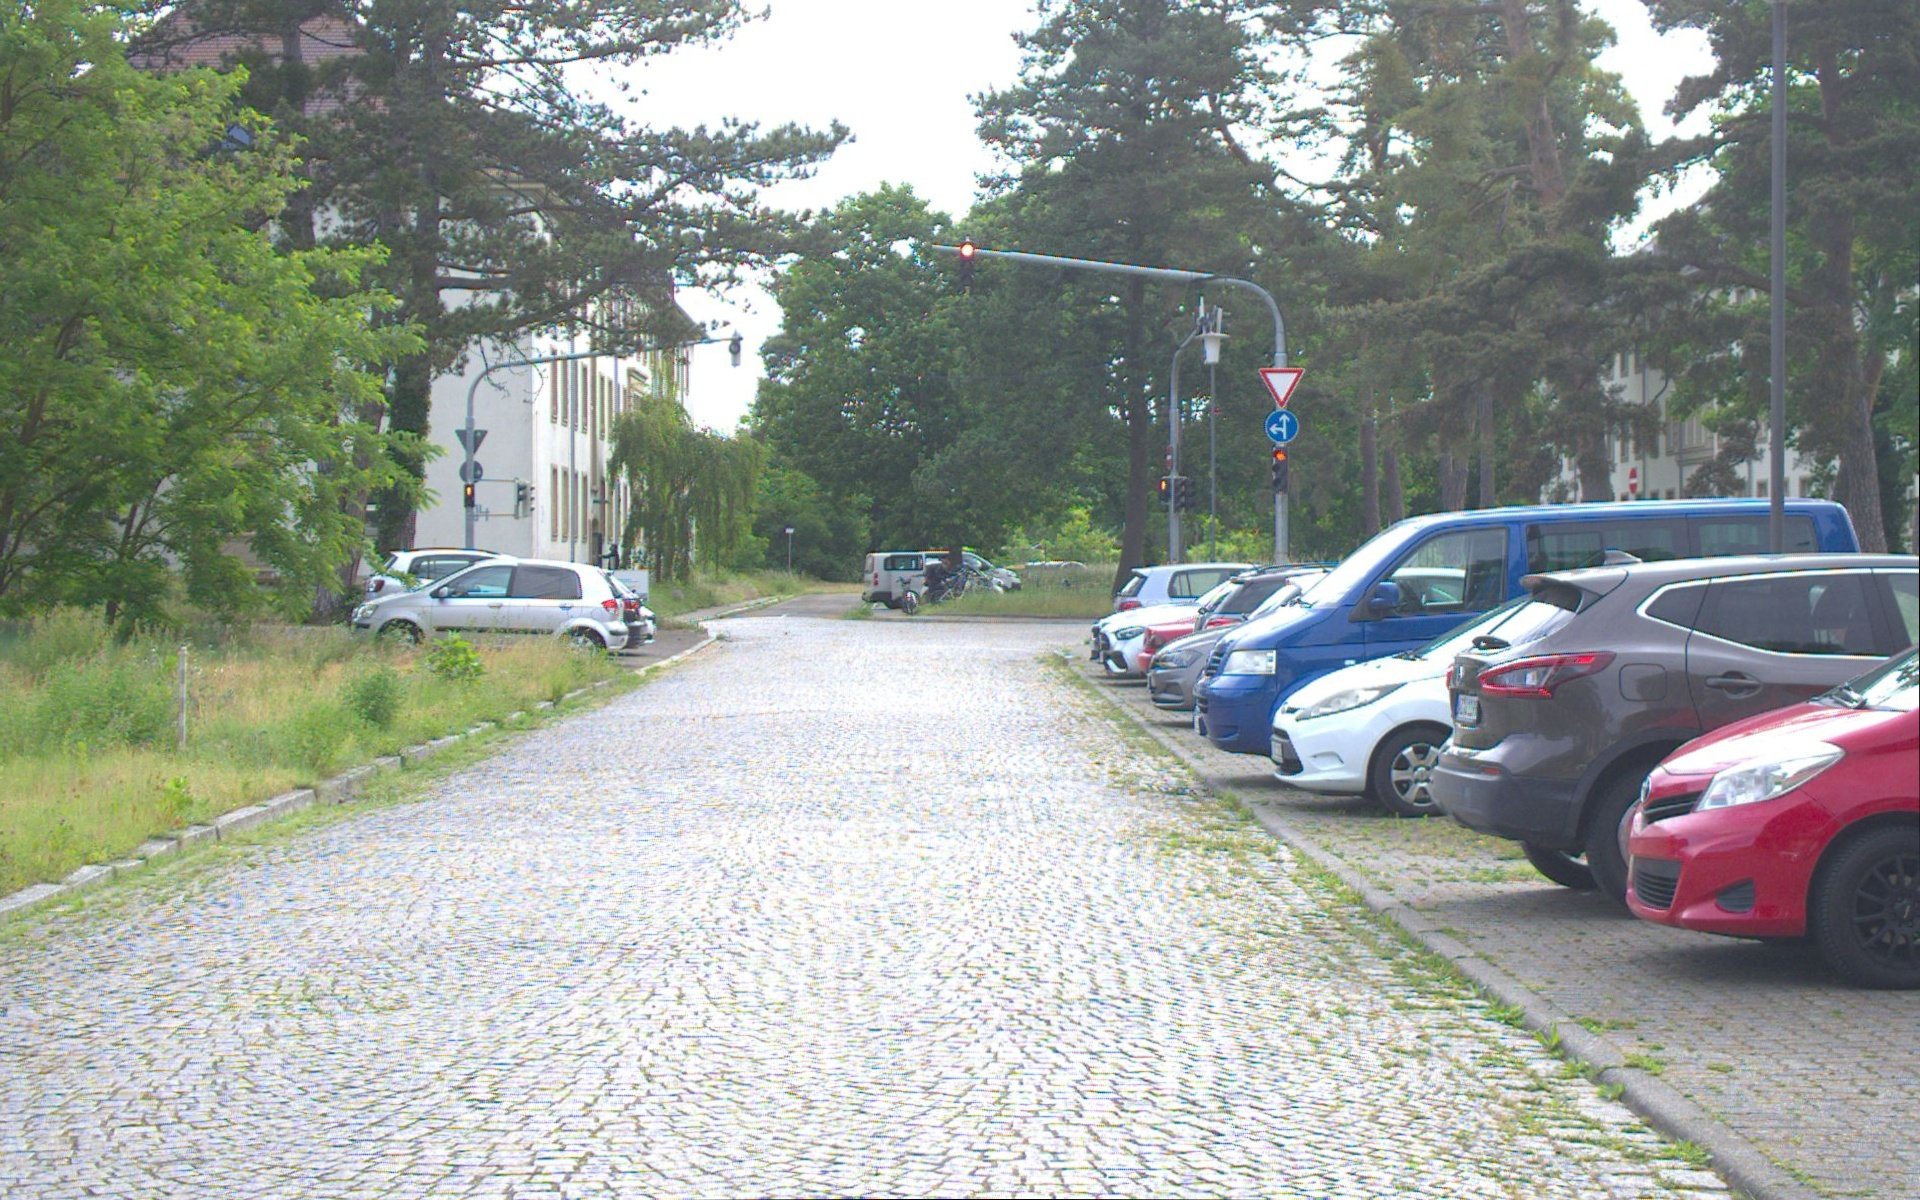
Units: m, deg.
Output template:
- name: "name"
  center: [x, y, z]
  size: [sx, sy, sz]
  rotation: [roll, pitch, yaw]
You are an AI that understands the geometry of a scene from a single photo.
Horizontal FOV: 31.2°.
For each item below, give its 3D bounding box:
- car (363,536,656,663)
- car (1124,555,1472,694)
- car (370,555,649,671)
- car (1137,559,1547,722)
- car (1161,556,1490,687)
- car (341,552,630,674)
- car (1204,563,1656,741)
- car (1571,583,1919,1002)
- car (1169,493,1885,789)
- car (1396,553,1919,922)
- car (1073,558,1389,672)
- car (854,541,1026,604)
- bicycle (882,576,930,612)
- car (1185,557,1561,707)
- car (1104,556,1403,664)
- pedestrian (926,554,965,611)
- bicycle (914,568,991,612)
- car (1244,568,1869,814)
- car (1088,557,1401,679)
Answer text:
- name: "car"
  center: [-6.884, -0.017, 52.813]
  size: [4.262, 1.834, 1.744]
  rotation: [-1, 0, -1]
- name: "car"
  center: [3.745, 0.265, 38.482]
  size: [3.671, 1.444, 1.524]
  rotation: [-1, 0, -2]
- name: "car"
  center: [-6.496, 0.180, 49.829]
  size: [3.821, 1.567, 1.564]
  rotation: [-1, 0, -1]
- name: "car"
  center: [3.598, 0.369, 32.787]
  size: [3.671, 1.444, 1.524]
  rotation: [-1, 0, -2]
- name: "car"
  center: [4.305, 0.244, 40.769]
  size: [3.671, 1.444, 1.524]
  rotation: [-1, 0, -2]
- name: "car"
  center: [-6.506, 0.170, 47.412]
  size: [3.821, 1.567, 1.564]
  rotation: [-1, 0, -4]
- name: "car"
  center: [4.059, 0.436, 30.011]
  size: [3.671, 1.444, 1.524]
  rotation: [-1, 0, -2]
- name: "car"
  center: [4.402, 0.657, 13.114]
  size: [3.792, 1.455, 1.751]
  rotation: [-1, 0, 0]
- name: "car"
  center: [3.990, 0.273, 24.730]
  size: [4.754, 1.948, 1.931]
  rotation: [-1, 0, -2]
- name: "car"
  center: [4.166, 0.565, 15.763]
  size: [4.028, 1.547, 1.751]
  rotation: [-1, 0, -3]
- name: "car"
  center: [3.581, 0.185, 45.874]
  size: [3.967, 1.416, 1.620]
  rotation: [-1, 0, -5]
- name: "car"
  center: [-0.681, -0.917, 115.343]
  size: [5.444, 2.007, 2.269]
  rotation: [1, 1, -9]
- name: "bicycle"
  center: [-1.472, -0.166, 93.365]
  size: [0.620, 0.942, 1.663]
  rotation: [1, 1, -28]
- name: "car"
  center: [4.260, 0.320, 35.778]
  size: [3.671, 1.444, 1.524]
  rotation: [-1, 0, -2]
- name: "car"
  center: [4.117, 0.137, 48.527]
  size: [3.967, 1.416, 1.620]
  rotation: [-1, 0, -5]
- name: "pedestrian"
  center: [-0.421, -0.502, 97.779]
  size: [1.033, 1.608, 0.757]
  rotation: [1, 0, -5]
- name: "bicycle"
  center: [-0.219, -0.291, 97.439]
  size: [2.136, 1.210, 0.622]
  rotation: [1, 0, -5]
- name: "car"
  center: [3.779, 0.555, 22.138]
  size: [3.671, 1.444, 1.615]
  rotation: [-1, 0, -3]
- name: "car"
  center: [3.532, 0.214, 43.019]
  size: [3.671, 1.416, 1.524]
  rotation: [-1, 0, -5]
